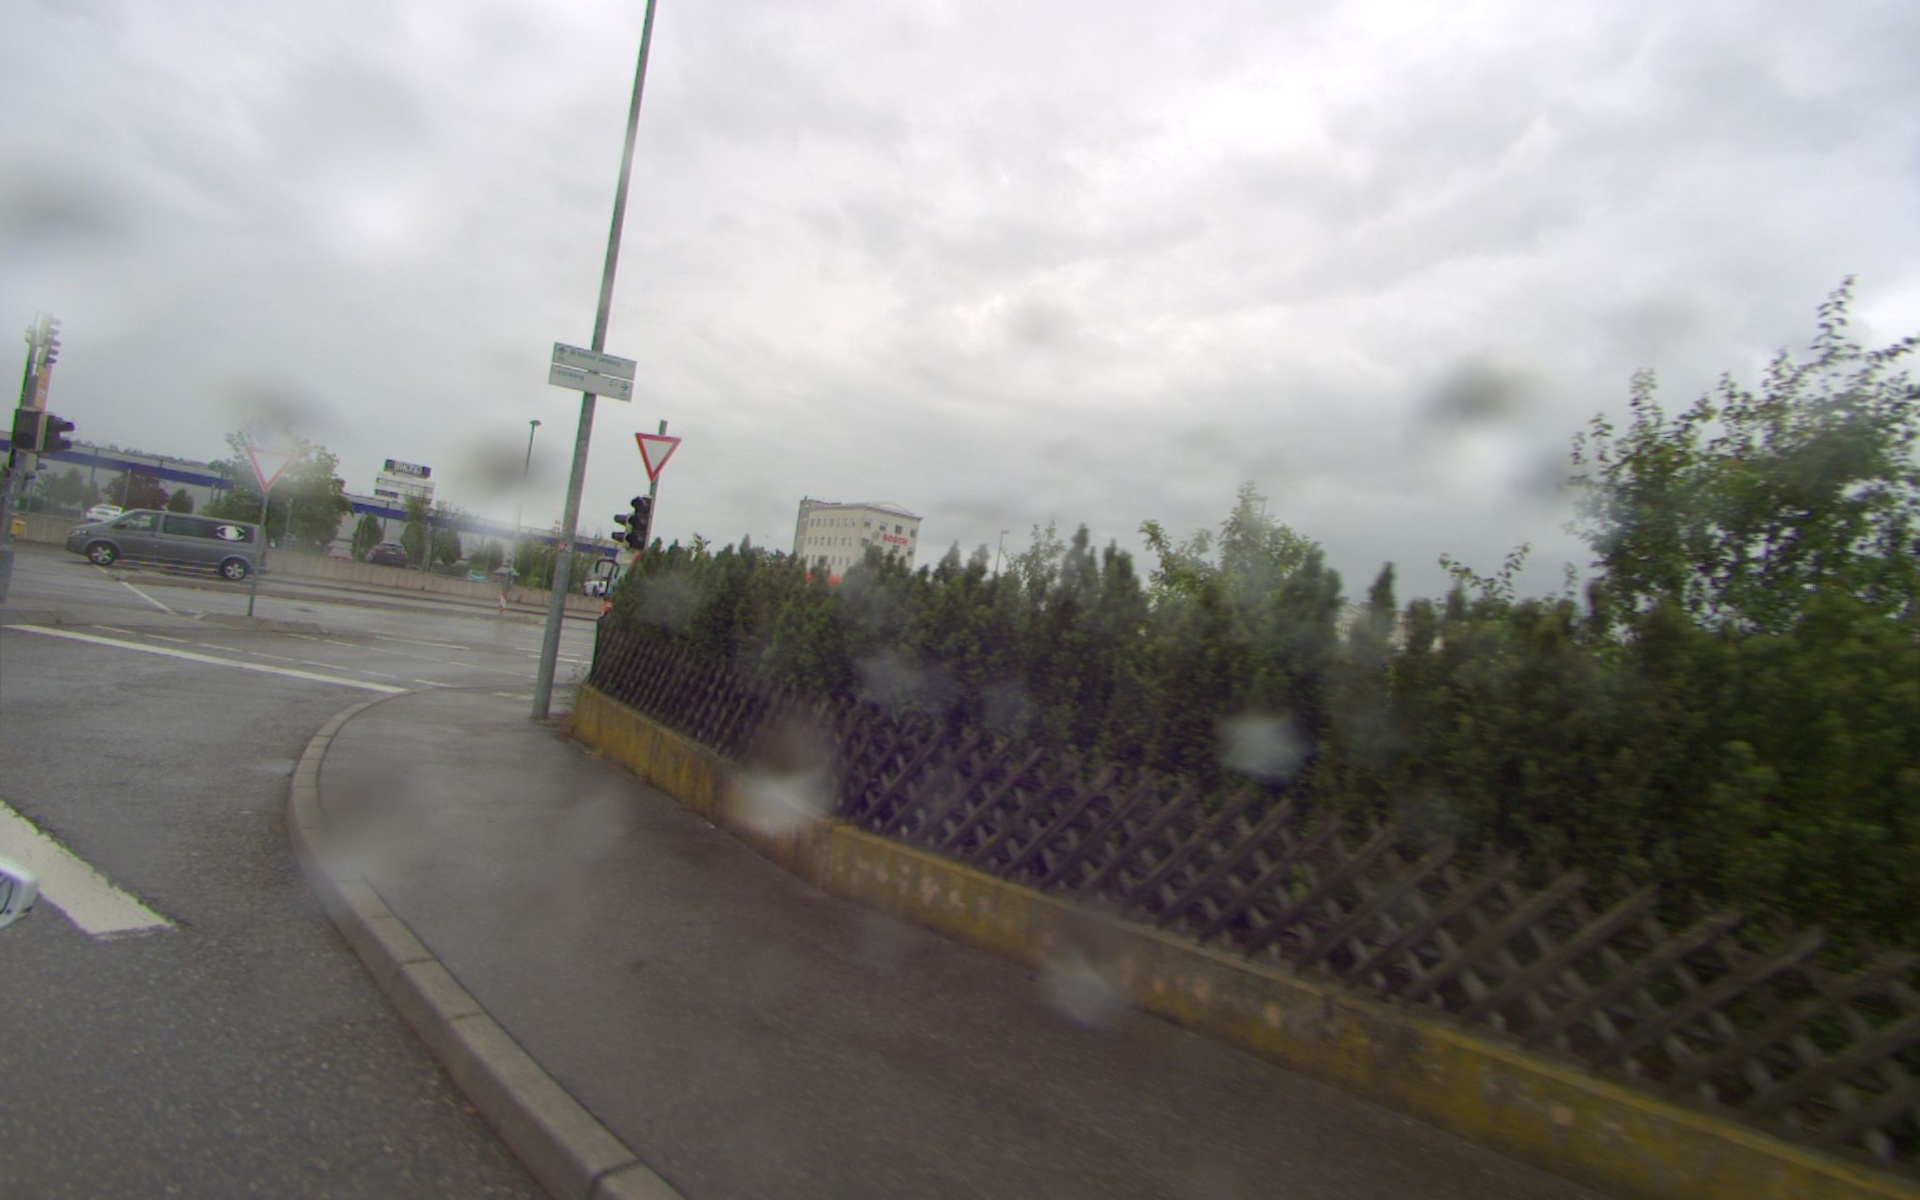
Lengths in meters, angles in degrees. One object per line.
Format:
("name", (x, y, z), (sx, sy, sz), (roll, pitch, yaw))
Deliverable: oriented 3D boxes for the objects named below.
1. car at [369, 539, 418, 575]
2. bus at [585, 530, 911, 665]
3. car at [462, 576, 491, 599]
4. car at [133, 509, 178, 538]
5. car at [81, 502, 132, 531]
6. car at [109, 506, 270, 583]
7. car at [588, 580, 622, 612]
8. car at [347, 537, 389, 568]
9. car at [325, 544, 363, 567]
("car", (-33.087, -2.487, 58.804), (1.748, 1.735, 3.632), (8, -1, -20))
("bus", (-7.950, 0.075, 39.688), (12.228, 3.358, 3.043), (11, -3, -38))
("car", (-40.941, -1.082, 85.161), (1.749, 1.735, 3.631), (8, -1, -21))
("car", (-52.048, -4.941, 65.108), (1.984, 1.495, 3.960), (9, -2, -37))
("car", (-53.809, -5.245, 63.482), (1.984, 1.495, 3.960), (9, -2, -36))
("car", (-25.498, -1.808, 33.362), (3.976, 1.870, 1.976), (9, -2, -42))
("car", (-23.175, -0.286, 65.633), (1.749, 1.735, 3.631), (8, -1, -21))
("car", (-39.862, -3.171, 67.779), (1.699, 1.735, 3.630), (8, -1, -22))
("car", (-48.919, -3.496, 79.943), (1.749, 1.496, 3.631), (8, -2, -21))
